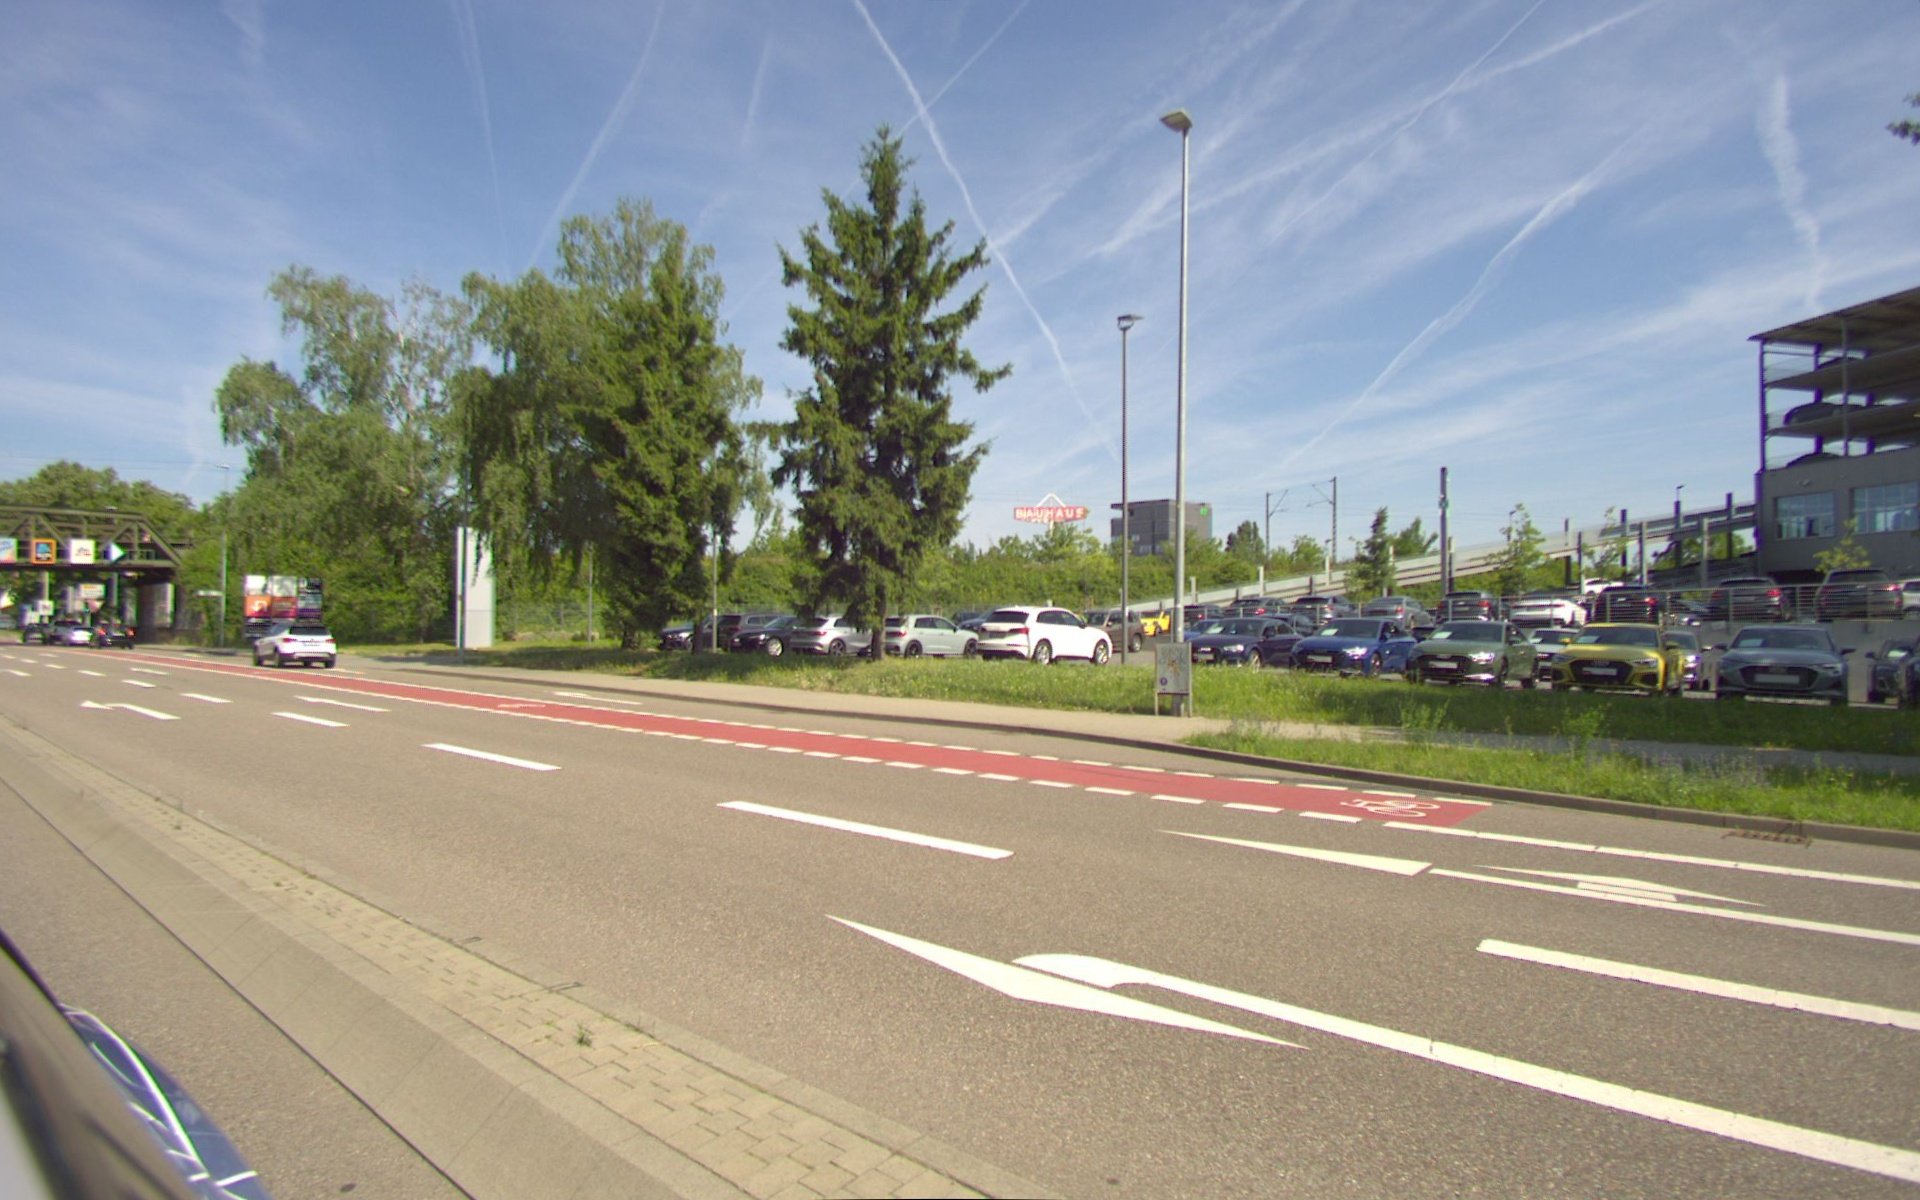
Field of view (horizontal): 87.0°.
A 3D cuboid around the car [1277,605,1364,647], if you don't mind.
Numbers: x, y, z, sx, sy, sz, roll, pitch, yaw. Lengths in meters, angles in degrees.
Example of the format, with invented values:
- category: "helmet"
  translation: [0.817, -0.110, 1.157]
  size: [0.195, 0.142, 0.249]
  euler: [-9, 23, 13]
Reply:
- category: "car"
  translation: [13.980, 0.974, 39.141]
  size: [1.997, 1.488, 4.163]
  euler: [-1, -1, 37]

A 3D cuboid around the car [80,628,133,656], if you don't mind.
- category: "car"
  translation: [-49.788, 2.440, 59.016]
  size: [4.024, 1.530, 1.680]
  euler: [-1, -4, 41]

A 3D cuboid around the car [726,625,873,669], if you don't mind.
- category: "car"
  translation: [-5.350, 1.538, 34.277]
  size: [1.999, 1.278, 4.801]
  euler: [-1, -1, 40]

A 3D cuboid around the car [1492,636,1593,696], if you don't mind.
- category: "car"
  translation: [16.498, 1.800, 28.571]
  size: [1.889, 1.429, 3.948]
  euler: [-1, -1, 39]

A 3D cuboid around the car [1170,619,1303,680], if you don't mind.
- category: "car"
  translation: [6.726, 1.127, 24.413]
  size: [1.742, 1.295, 3.754]
  euler: [-1, -1, 39]

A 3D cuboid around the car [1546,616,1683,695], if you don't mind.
- category: "car"
  translation: [12.722, 1.079, 19.573]
  size: [1.838, 1.351, 3.849]
  euler: [-1, -4, 39]

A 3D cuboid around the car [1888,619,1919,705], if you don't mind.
- category: "car"
  translation: [16.264, 1.020, 16.073]
  size: [1.983, 1.295, 3.643]
  euler: [-1, -4, 39]

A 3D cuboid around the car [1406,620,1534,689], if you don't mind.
- category: "car"
  translation: [10.675, 1.147, 21.066]
  size: [1.661, 1.295, 3.705]
  euler: [-1, -4, 39]

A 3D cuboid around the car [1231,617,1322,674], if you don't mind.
- category: "car"
  translation: [10.594, 1.467, 33.752]
  size: [1.642, 1.735, 3.734]
  euler: [-1, -1, 39]

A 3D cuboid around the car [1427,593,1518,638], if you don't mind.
- category: "car"
  translation: [18.121, 0.584, 35.673]
  size: [1.977, 1.496, 4.455]
  euler: [-1, -2, 39]

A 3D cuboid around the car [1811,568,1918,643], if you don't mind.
- category: "car"
  translation: [25.672, 0.217, 28.859]
  size: [1.977, 1.977, 4.455]
  euler: [-1, -2, 39]

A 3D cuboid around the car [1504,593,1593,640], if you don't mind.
- category: "car"
  translation: [19.956, 0.590, 34.225]
  size: [1.977, 1.496, 4.455]
  euler: [-1, -2, 39]

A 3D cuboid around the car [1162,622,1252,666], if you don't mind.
- category: "car"
  translation: [8.680, 1.501, 35.377]
  size: [1.642, 1.412, 3.693]
  euler: [-1, -1, 39]

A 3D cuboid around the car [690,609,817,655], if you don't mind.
- category: "car"
  translation: [-7.428, 1.118, 36.674]
  size: [1.999, 1.558, 4.170]
  euler: [-1, -1, 40]

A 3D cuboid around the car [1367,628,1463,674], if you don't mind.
- category: "car"
  translation: [13.898, 1.570, 30.841]
  size: [1.863, 1.295, 3.558]
  euler: [-1, -4, 39]

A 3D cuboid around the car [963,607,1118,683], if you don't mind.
- category: "car"
  translation: [2.282, 1.157, 27.901]
  size: [1.999, 1.889, 4.416]
  euler: [-1, -1, 42]

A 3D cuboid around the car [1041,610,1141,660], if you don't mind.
- category: "car"
  translation: [5.095, 1.305, 39.044]
  size: [1.999, 1.770, 3.945]
  euler: [-1, -1, 41]

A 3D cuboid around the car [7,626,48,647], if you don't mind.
- category: "car"
  translation: [-73.691, 2.842, 79.982]
  size: [4.384, 1.608, 1.853]
  euler: [-1, -3, 41]

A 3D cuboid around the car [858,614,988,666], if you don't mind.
- category: "car"
  translation: [-1.136, 1.226, 32.271]
  size: [1.848, 1.497, 3.942]
  euler: [-1, -1, 44]

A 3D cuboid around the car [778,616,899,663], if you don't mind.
- category: "car"
  translation: [-3.867, 1.238, 32.606]
  size: [1.815, 1.381, 3.642]
  euler: [-1, -1, 40]

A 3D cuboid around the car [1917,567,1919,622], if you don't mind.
- category: "car"
  translation: [27.541, -0.217, 27.401]
  size: [1.977, 1.563, 4.455]
  euler: [-1, -2, 39]

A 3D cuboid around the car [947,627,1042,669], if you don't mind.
- category: "car"
  translation: [1.508, 1.969, 42.428]
  size: [1.803, 1.576, 4.200]
  euler: [-1, -1, 39]

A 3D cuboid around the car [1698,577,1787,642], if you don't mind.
- category: "car"
  translation: [23.671, 0.336, 30.597]
  size: [1.977, 1.829, 4.455]
  euler: [-1, -2, 39]

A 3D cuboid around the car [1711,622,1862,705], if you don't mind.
- category: "car"
  translation: [14.455, 1.101, 17.787]
  size: [1.863, 1.295, 3.558]
  euler: [-1, -4, 39]

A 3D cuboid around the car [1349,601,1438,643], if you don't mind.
- category: "car"
  translation: [16.026, 0.768, 37.269]
  size: [1.889, 1.429, 4.456]
  euler: [-1, -1, 39]

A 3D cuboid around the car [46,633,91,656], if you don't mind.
- category: "car"
  translation: [-58.340, 2.908, 66.195]
  size: [4.316, 1.398, 1.618]
  euler: [-1, -3, 41]

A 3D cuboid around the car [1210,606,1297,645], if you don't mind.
- category: "car"
  translation: [11.902, 1.004, 40.912]
  size: [1.997, 1.488, 4.163]
  euler: [-1, -1, 37]

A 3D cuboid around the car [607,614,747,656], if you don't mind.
- category: "car"
  translation: [-10.356, 1.240, 37.308]
  size: [1.999, 1.400, 4.639]
  euler: [-1, -1, 40]

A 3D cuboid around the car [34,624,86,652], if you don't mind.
- category: "car"
  translation: [-63.661, 2.685, 71.546]
  size: [5.447, 1.875, 1.973]
  euler: [-1, -4, 41]

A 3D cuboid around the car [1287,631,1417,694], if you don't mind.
- category: "car"
  translation: [8.804, 1.386, 22.592]
  size: [1.742, 1.295, 3.558]
  euler: [-1, -4, 39]

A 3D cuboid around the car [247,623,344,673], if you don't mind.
- category: "car"
  translation: [-23.036, 1.640, 35.014]
  size: [1.971, 1.630, 4.106]
  euler: [4, -4, -45]

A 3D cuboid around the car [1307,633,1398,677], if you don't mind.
- category: "car"
  translation: [12.505, 1.689, 32.129]
  size: [1.642, 1.206, 3.734]
  euler: [-1, -1, 39]

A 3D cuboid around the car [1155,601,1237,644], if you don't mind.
- category: "car"
  translation: [10.016, 0.913, 42.755]
  size: [1.996, 1.746, 3.952]
  euler: [-1, -1, 35]

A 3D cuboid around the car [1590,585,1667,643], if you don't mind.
- category: "car"
  translation: [21.464, 0.490, 32.432]
  size: [1.663, 1.718, 4.226]
  euler: [-1, -2, 39]
